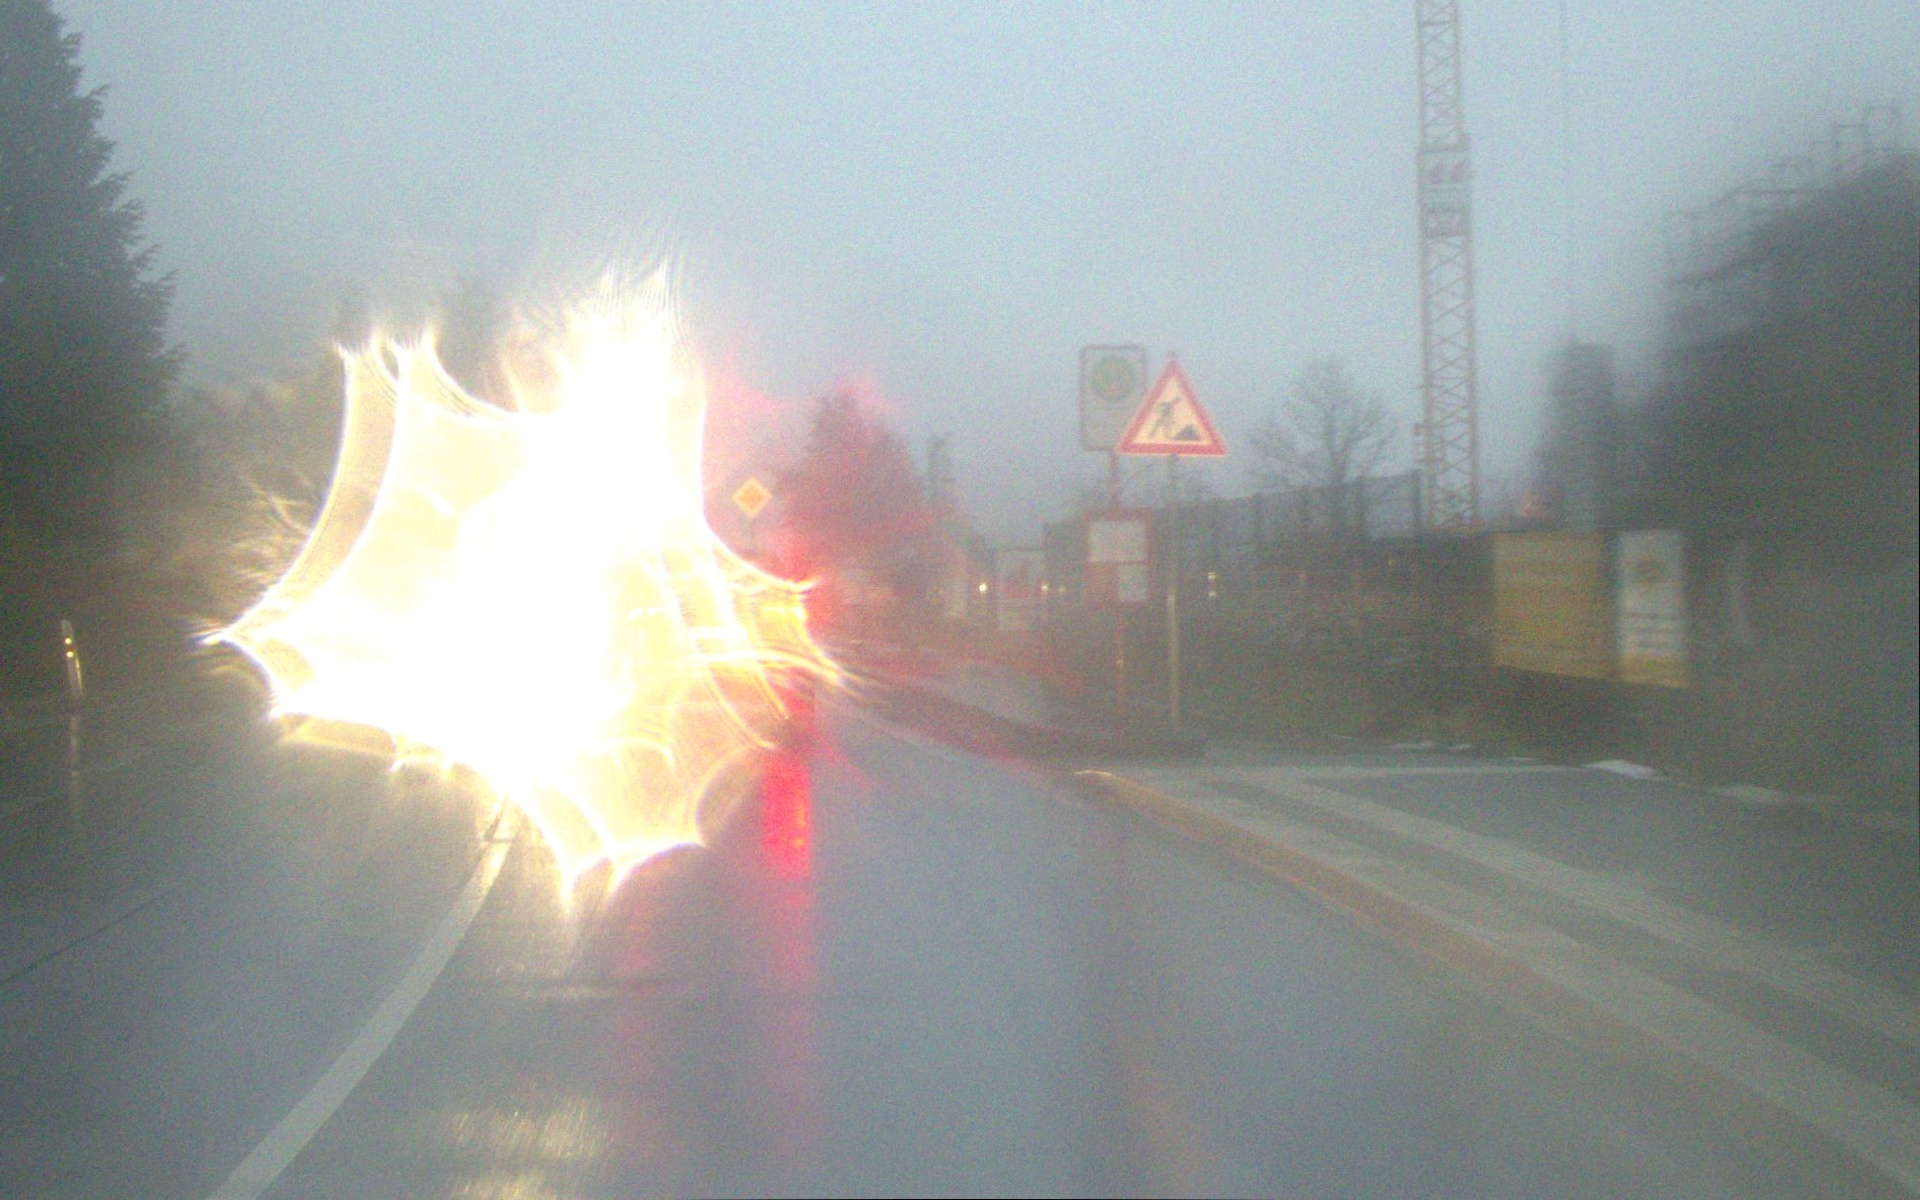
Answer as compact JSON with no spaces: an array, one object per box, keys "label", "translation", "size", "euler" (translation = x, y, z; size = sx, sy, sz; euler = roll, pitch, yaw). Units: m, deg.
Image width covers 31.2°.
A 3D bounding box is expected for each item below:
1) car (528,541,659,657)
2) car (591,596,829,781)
[{"label":"car","translation":[-6.378,-0.024,59.455],"size":[1.993,1.875,4.001],"euler":[-2,1,-9]},{"label":"car","translation":[-2.427,0.790,32.290],"size":[2.047,1.567,4.704],"euler":[-1,0,-6]}]
